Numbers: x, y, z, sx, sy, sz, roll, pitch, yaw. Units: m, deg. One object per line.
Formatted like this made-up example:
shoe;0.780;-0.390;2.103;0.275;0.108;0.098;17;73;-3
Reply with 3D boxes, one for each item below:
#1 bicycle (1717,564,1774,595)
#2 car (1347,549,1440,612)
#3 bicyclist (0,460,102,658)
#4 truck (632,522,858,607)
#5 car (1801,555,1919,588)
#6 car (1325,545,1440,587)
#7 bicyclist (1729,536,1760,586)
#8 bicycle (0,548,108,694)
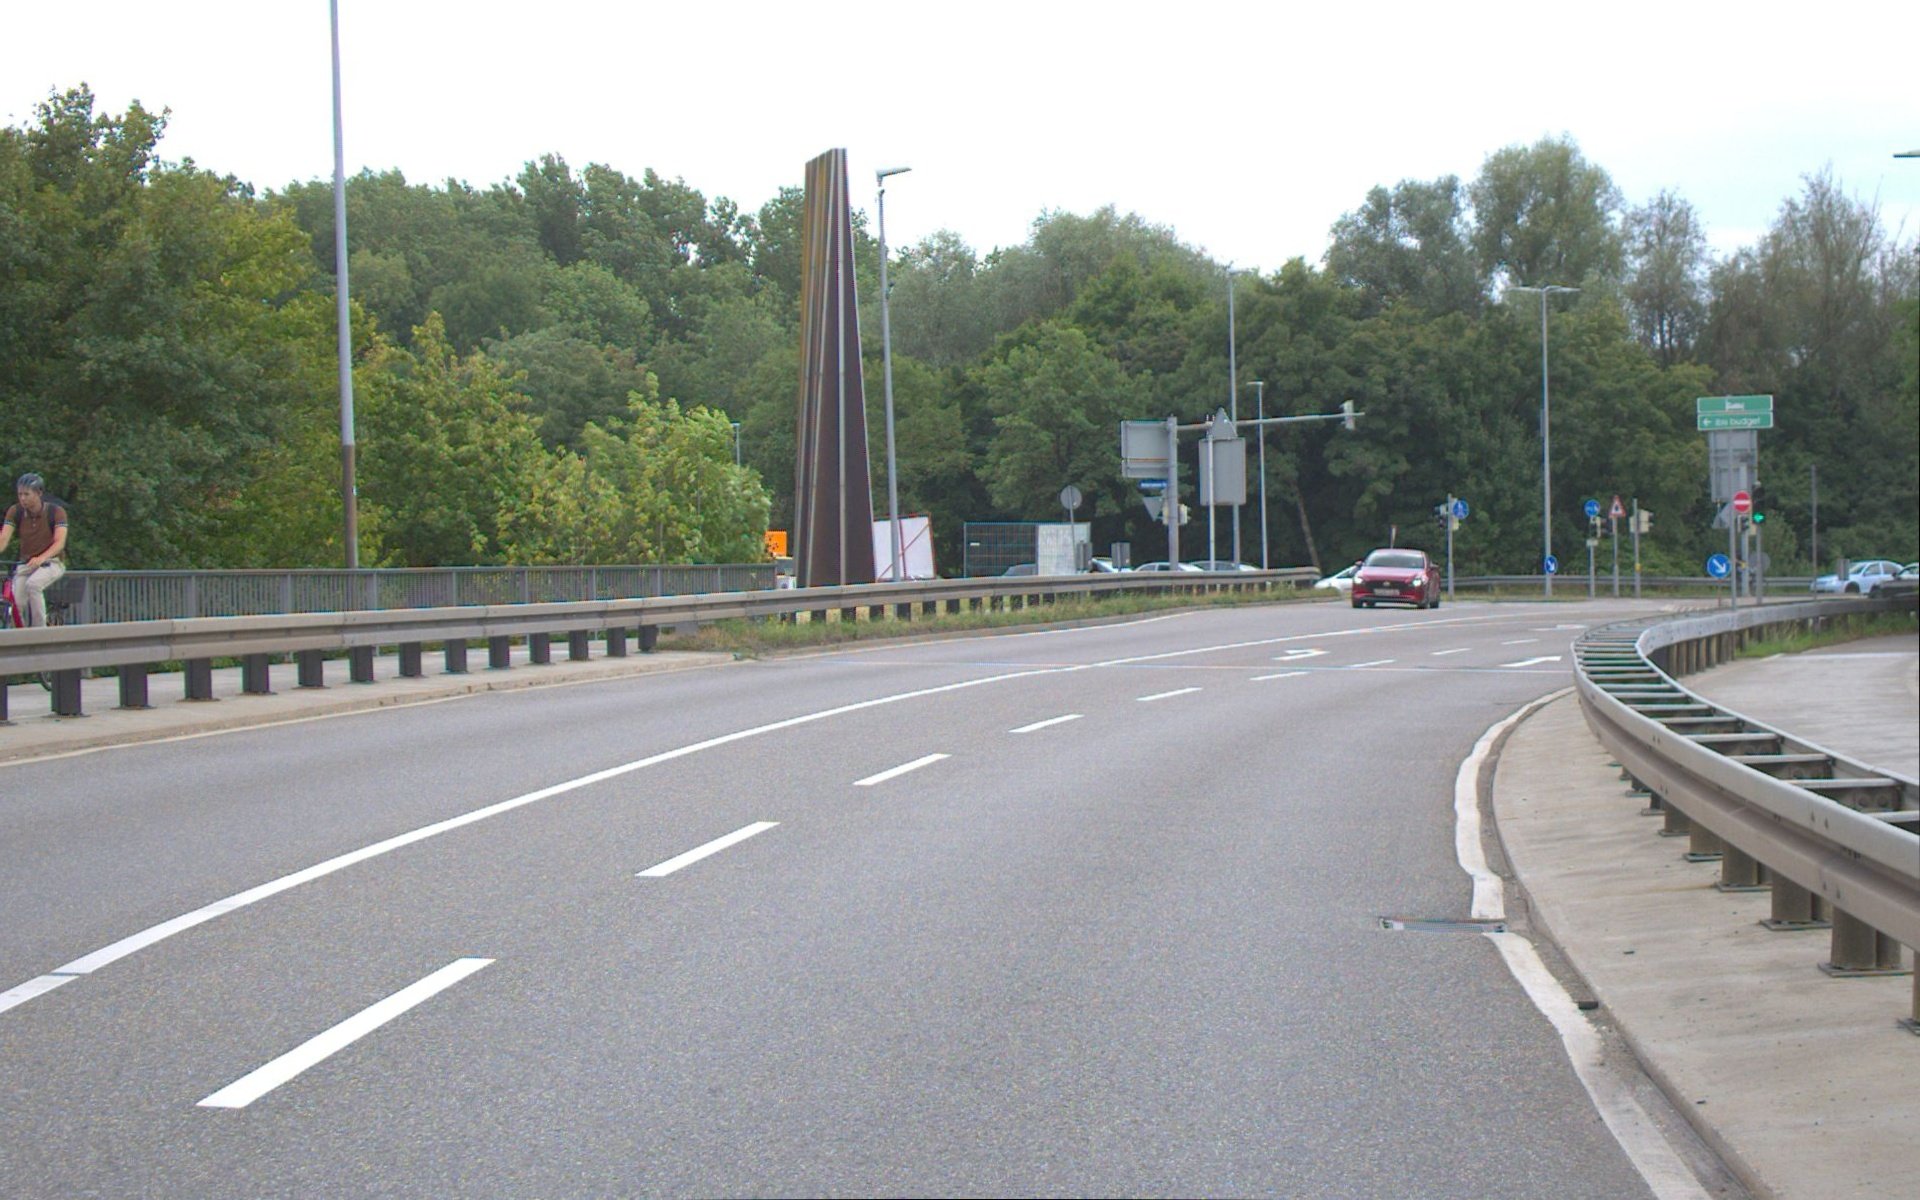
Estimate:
bicycle;27.720;-0.706;121.291;0.706;1.049;1.944;0;-1;-37
car;10.606;-0.487;83.940;1.797;1.467;4.633;1;1;13
bicyclist;-7.661;-0.336;28.678;0.771;1.626;0.649;1;-1;6
truck;-8.233;-1.376;130.479;9.269;3.125;2.964;1;1;43
car;34.287;-1.092;130.736;4.209;1.201;2.000;0;1;-28
car;15.846;-1.278;129.034;3.986;1.547;2.000;1;1;-3
bicyclist;27.685;-1.369;121.313;0.798;1.729;0.745;0;-1;-36
bicycle;-7.726;0.156;28.689;0.635;1.170;1.906;1;1;4
